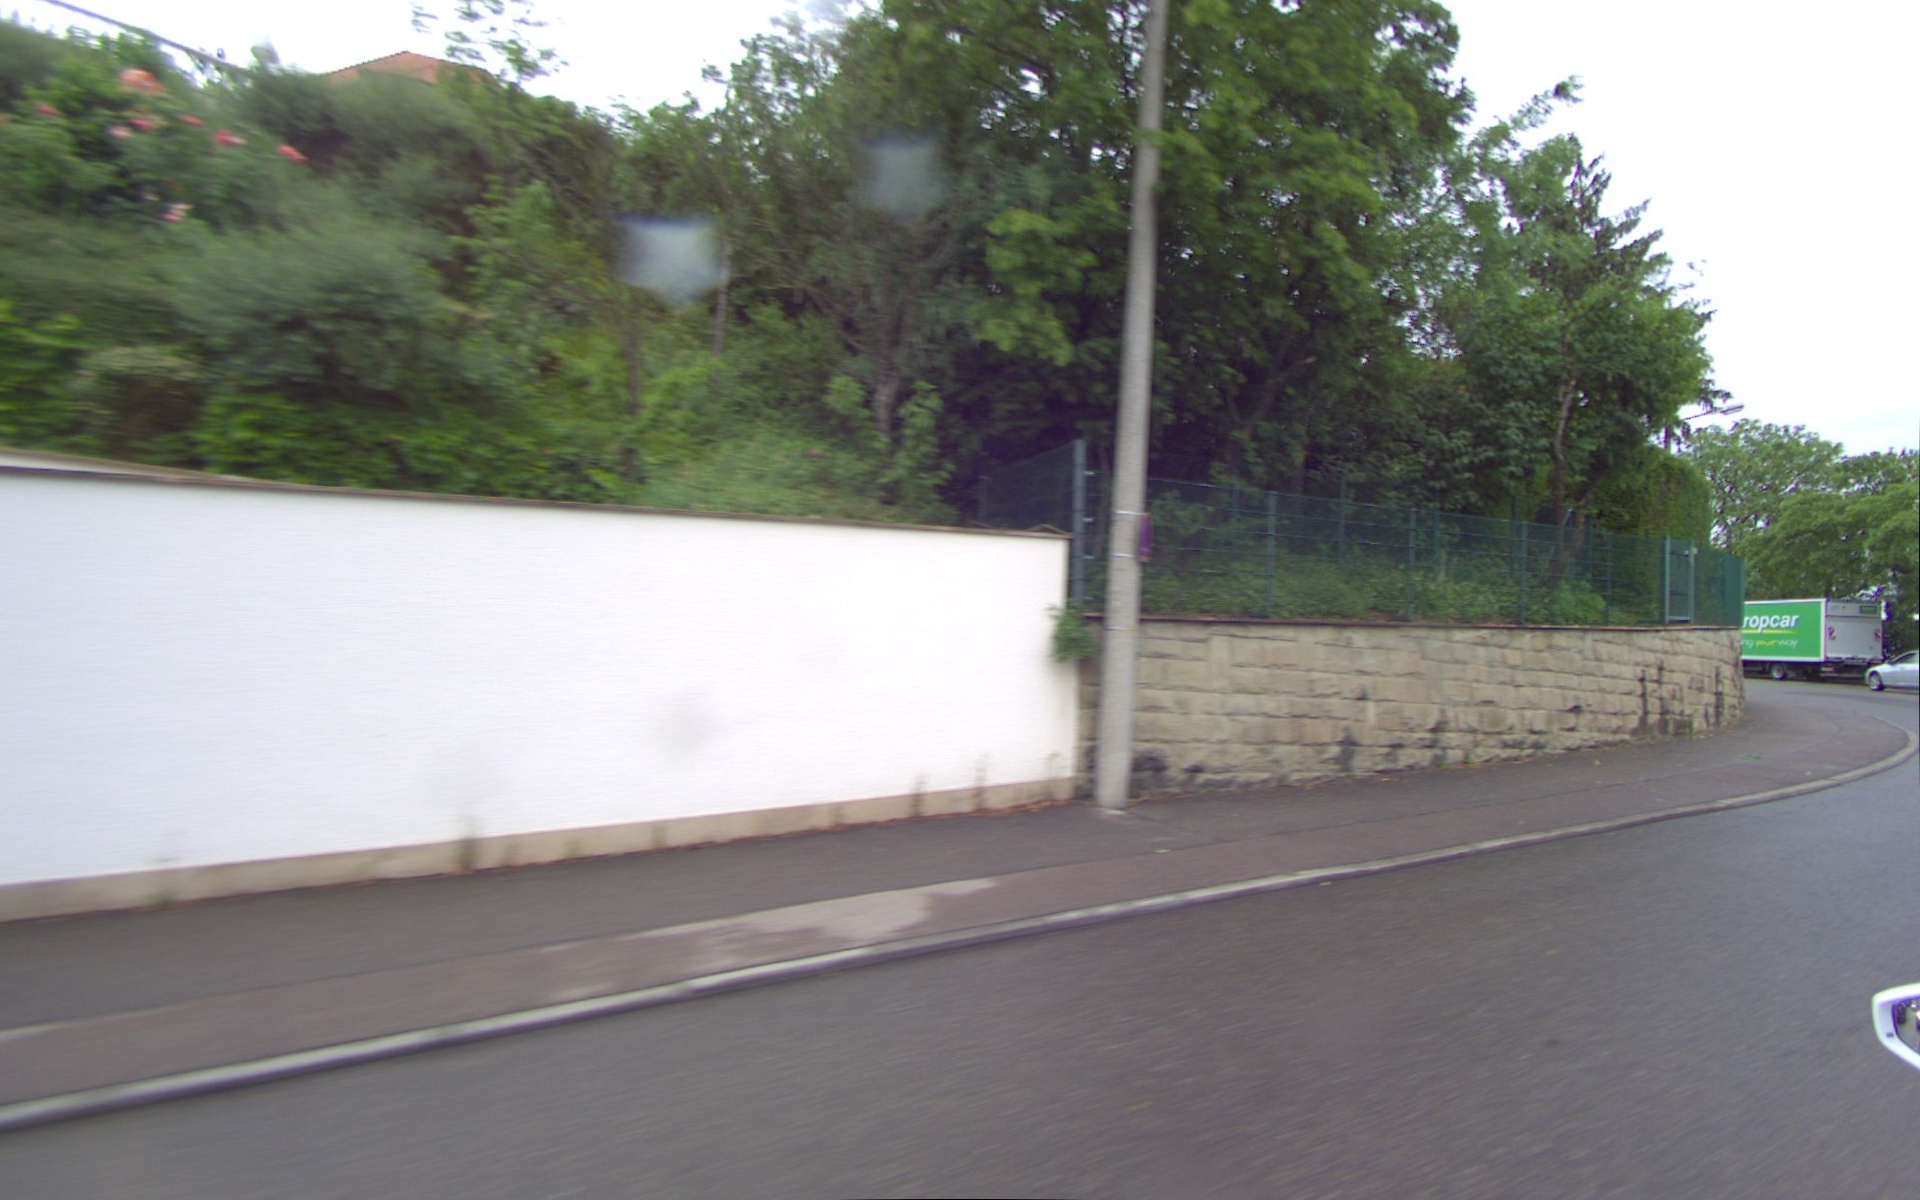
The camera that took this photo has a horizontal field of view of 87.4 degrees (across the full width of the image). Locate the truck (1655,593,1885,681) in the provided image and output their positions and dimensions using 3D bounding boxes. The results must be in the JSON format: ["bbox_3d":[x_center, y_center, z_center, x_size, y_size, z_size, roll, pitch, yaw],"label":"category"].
[{"bbox_3d":[36.179,1.614,45.461,2.729,3.516,8.928,2,-1,-4],"label":"truck"}]

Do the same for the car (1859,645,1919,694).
[{"bbox_3d":[31.078,2.225,32.042,1.822,1.478,4.098,0,-2,13],"label":"car"}]

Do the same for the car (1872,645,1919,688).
[{"bbox_3d":[36.077,2.463,36.916,1.704,1.523,4.138,0,-2,7],"label":"car"}]
